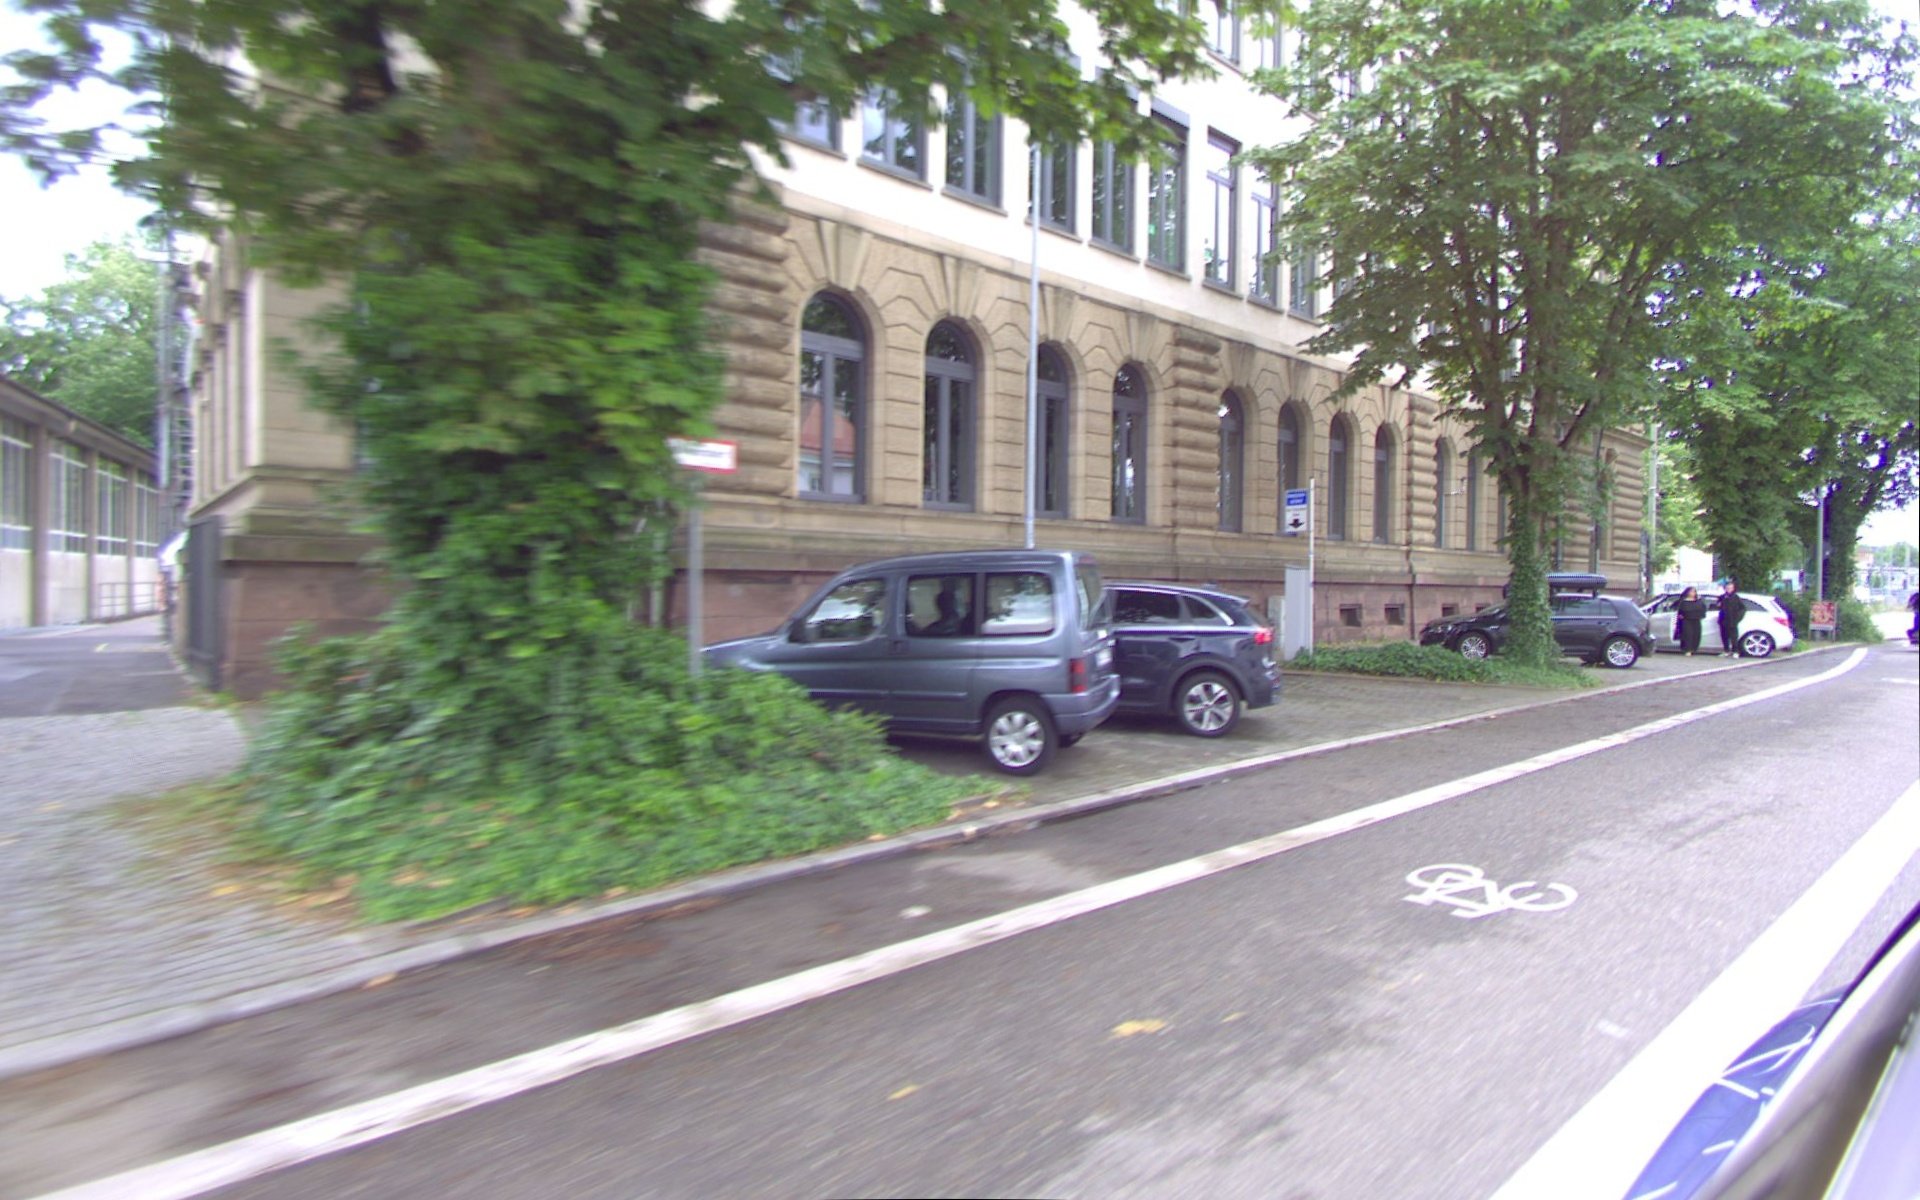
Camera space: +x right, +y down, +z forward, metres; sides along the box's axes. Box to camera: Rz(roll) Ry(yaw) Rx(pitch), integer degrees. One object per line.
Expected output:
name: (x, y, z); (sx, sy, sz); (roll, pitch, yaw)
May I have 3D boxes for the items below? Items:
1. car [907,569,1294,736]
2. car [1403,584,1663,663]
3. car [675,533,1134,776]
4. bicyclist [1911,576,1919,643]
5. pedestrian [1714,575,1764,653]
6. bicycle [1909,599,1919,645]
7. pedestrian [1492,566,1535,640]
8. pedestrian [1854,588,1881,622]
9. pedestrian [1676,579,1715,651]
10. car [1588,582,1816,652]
car: (1.572, 0.485, 11.332); (3.942, 1.558, 1.856); (2, 1, 15)
car: (11.479, 0.425, 20.599); (4.271, 1.420, 1.745); (1, 1, 17)
car: (-0.466, 0.362, 9.265); (3.792, 1.843, 1.795); (2, 1, 20)
bicyclist: (27.232, 0.291, 28.142); (1.450, 1.845, 0.882); (2, -1, -36)
pedestrian: (18.104, 0.312, 23.537); (0.673, 1.772, 0.614); (0, 0, 2)
bicycle: (27.203, 0.622, 28.079); (2.266, 1.257, 0.853); (2, -1, -36)
pedestrian: (14.281, 0.068, 26.111); (0.738, 1.861, 0.680); (0, 3, -41)
pedestrian: (46.674, 0.230, 52.048); (0.912, 1.730, 1.143); (1, 1, 37)
pedestrian: (17.303, 0.343, 23.813); (0.637, 1.646, 0.586); (1, 0, 26)
car: (18.133, 0.368, 25.007); (4.284, 1.571, 1.734); (1, 1, 27)
